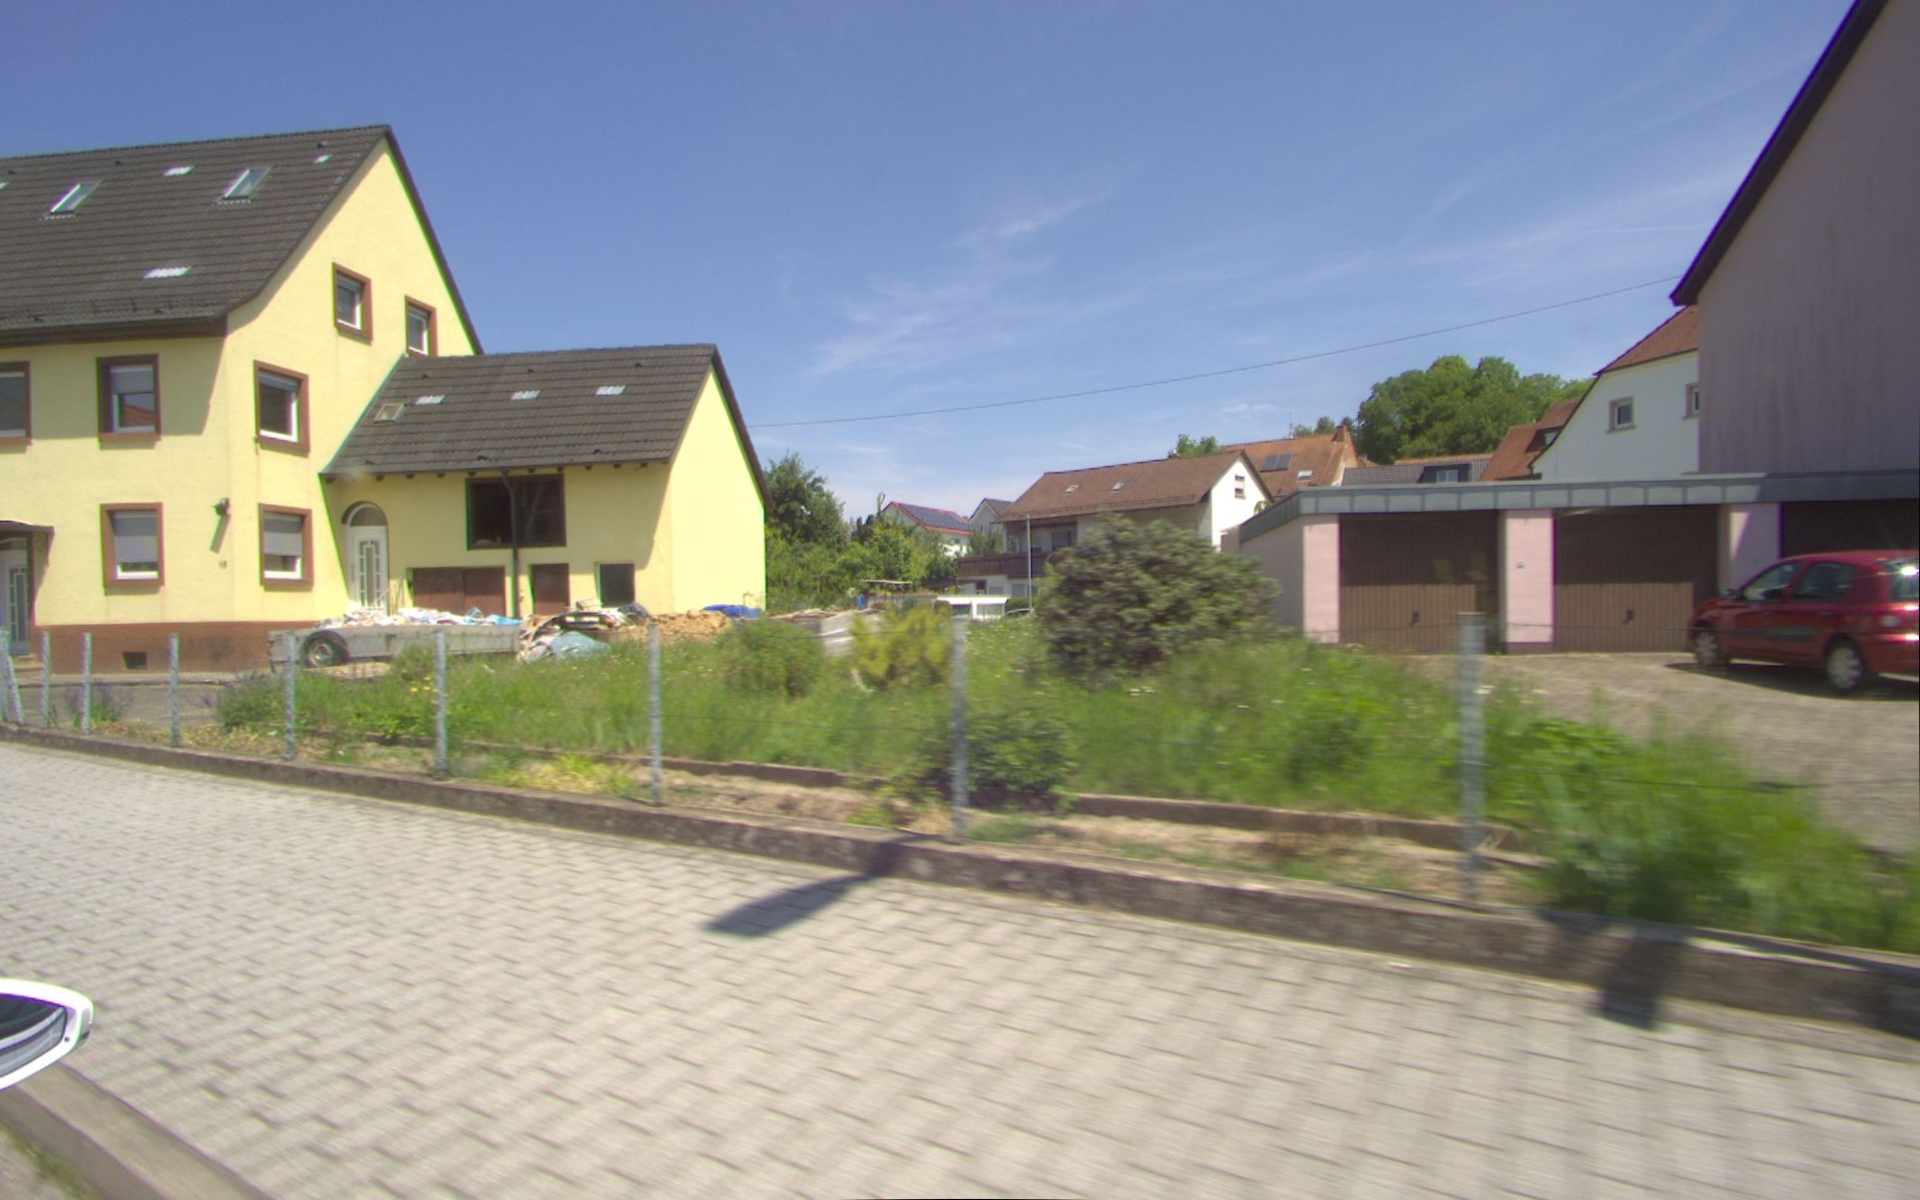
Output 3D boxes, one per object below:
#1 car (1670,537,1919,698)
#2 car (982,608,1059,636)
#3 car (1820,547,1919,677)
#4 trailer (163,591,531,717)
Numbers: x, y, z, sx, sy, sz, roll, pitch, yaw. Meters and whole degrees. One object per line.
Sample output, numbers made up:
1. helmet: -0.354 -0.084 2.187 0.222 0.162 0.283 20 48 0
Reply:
1. car: 9.889 0.124 11.147 1.728 1.506 3.834 -1 1 9
2. car: 3.056 1.119 51.138 1.647 1.380 3.964 -1 -1 -42
3. car: 12.433 0.113 11.500 1.815 1.568 4.125 -1 -1 5
4. trailer: -8.960 0.748 15.409 2.097 1.566 5.365 -1 -1 4
